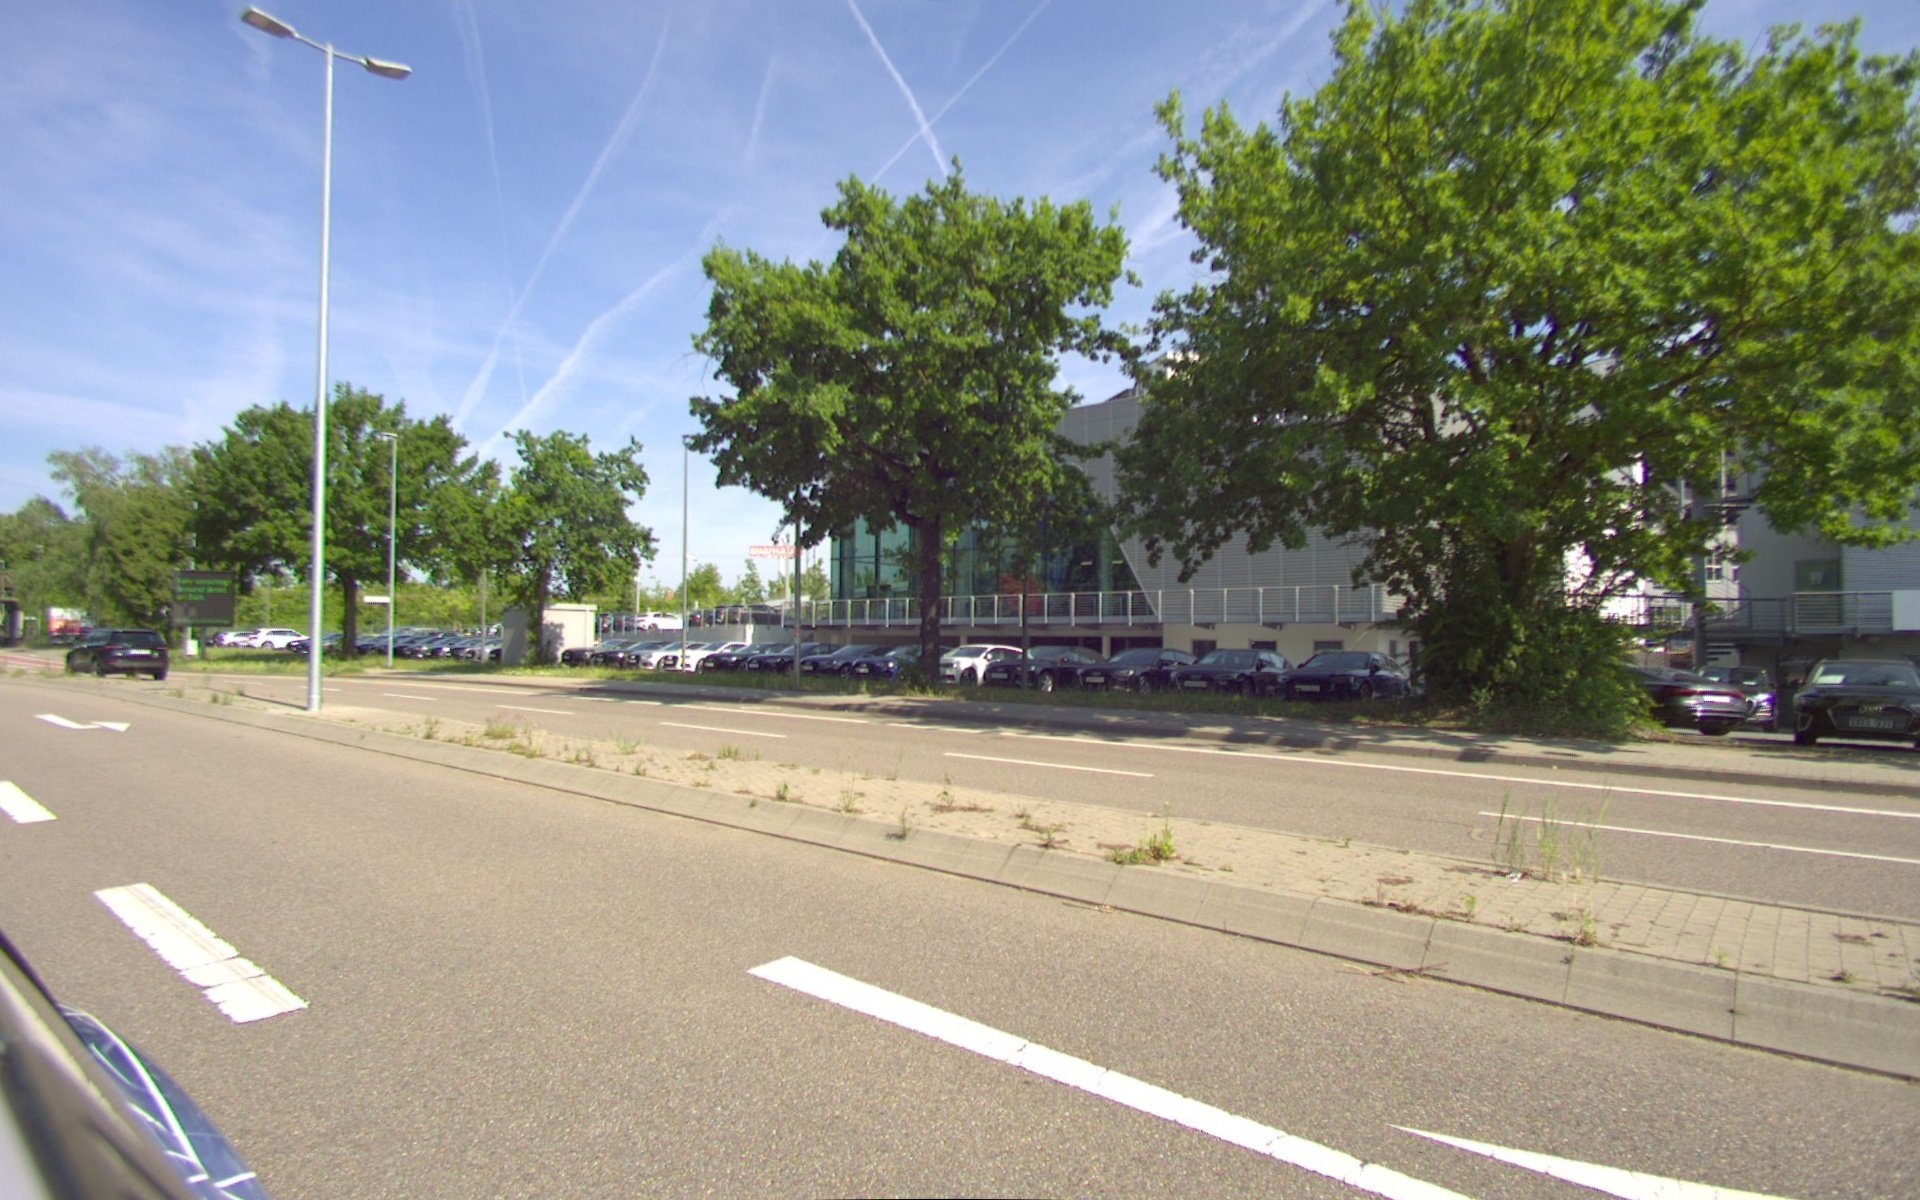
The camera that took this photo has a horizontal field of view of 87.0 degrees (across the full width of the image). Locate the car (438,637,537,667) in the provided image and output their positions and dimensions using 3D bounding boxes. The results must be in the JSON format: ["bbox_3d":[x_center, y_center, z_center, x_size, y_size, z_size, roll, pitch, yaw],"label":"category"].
[{"bbox_3d":[-23.783,2.629,51.054,1.689,1.333,4.141,-2,-6,42],"label":"car"}]

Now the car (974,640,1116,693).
[{"bbox_3d":[2.383,1.840,27.600,1.689,1.256,4.141,-2,-6,42],"label":"car"}]

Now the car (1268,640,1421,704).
[{"bbox_3d":[8.517,1.609,22.222,1.796,1.236,4.141,-2,-6,42],"label":"car"}]

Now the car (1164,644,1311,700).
[{"bbox_3d":[6.640,1.730,23.944,1.695,1.143,4.141,-2,-6,42],"label":"car"}]

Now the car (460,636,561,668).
[{"bbox_3d":[-21.874,2.550,49.374,1.689,1.333,4.141,-2,-6,42],"label":"car"}]

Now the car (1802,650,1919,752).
[{"bbox_3d":[14.434,1.583,15.885,1.808,1.413,3.983,-2,-6,40],"label":"car"}]

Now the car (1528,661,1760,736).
[{"bbox_3d":[13.874,1.952,20.821,1.662,1.343,3.848,1,-3,-11],"label":"car"}]

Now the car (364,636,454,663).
[{"bbox_3d":[-31.424,2.856,57.831,1.689,1.333,4.141,-2,-6,42],"label":"car"}]

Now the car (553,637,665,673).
[{"bbox_3d":[-14.800,2.347,42.826,1.689,1.333,4.141,-2,-6,42],"label":"car"}]

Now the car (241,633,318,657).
[{"bbox_3d":[-48.049,3.191,71.471,1.689,1.511,4.141,-2,-6,42],"label":"car"}]

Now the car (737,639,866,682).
[{"bbox_3d":[-5.301,2.059,34.256,1.689,1.269,4.141,-2,-6,42],"label":"car"}]

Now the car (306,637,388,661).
[{"bbox_3d":[-39.371,3.142,65.117,1.689,1.333,4.141,-2,-6,42],"label":"car"}]

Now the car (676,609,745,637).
[{"bbox_3d":[-16.283,1.528,66.178,1.689,1.511,4.141,-2,-6,42],"label":"car"}]

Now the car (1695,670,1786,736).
[{"bbox_3d":[19.734,2.540,25.581,1.688,1.448,3.780,-2,-3,38],"label":"car"}]

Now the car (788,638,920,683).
[{"bbox_3d":[-3.324,1.970,32.423,1.689,1.264,4.141,-2,-6,42],"label":"car"}]

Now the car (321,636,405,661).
[{"bbox_3d":[-37.405,3.054,63.504,1.689,1.333,4.141,-2,-6,42],"label":"car"}]

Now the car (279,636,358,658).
[{"bbox_3d":[-43.393,3.198,68.552,1.689,1.333,4.141,-2,-6,42],"label":"car"}]

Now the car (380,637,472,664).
[{"bbox_3d":[-29.572,2.813,56.104,1.689,1.333,4.141,-2,-6,42],"label":"car"}]

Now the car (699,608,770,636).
[{"bbox_3d":[-14.288,1.428,64.311,1.689,1.511,4.141,-2,-6,42],"label":"car"}]

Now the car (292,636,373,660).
[{"bbox_3d":[-41.310,3.171,66.696,1.689,1.333,4.141,-2,-6,42],"label":"car"}]

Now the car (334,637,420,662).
[{"bbox_3d":[-35.477,3.008,61.628,1.689,1.333,4.141,-2,-6,42],"label":"car"}]

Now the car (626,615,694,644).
[{"bbox_3d":[-20.494,2.054,69.207,1.689,1.745,4.141,-2,-6,42],"label":"car"}]

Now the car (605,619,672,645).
[{"bbox_3d":[-22.495,2.266,70.946,1.689,1.511,4.141,-2,-6,42],"label":"car"}]

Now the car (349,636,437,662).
[{"bbox_3d":[-33.558,2.927,59.973,1.689,1.333,4.141,-2,-6,42],"label":"car"}]

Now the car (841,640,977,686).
[{"bbox_3d":[-1.485,1.933,30.691,1.689,1.215,4.141,-2,-6,42],"label":"car"}]

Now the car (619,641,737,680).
[{"bbox_3d":[-10.957,2.377,39.520,1.689,1.335,4.141,-2,-6,42],"label":"car"}]

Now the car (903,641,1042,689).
[{"bbox_3d":[0.438,1.885,29.165,1.689,1.204,4.141,-2,-6,42],"label":"car"}]

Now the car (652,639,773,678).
[{"bbox_3d":[-9.195,2.222,37.888,1.689,1.265,4.141,-2,-6,42],"label":"car"}]

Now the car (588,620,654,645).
[{"bbox_3d":[-24.260,2.337,72.470,1.689,1.511,4.141,-2,-6,42],"label":"car"}]

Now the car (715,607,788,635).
[{"bbox_3d":[-12.735,1.330,62.088,1.689,1.416,4.141,-2,-6,42],"label":"car"}]

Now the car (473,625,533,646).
[{"bbox_3d":[-38.054,3.006,84.377,1.689,1.511,4.141,-2,-6,42],"label":"car"}]

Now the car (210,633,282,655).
[{"bbox_3d":[-53.956,3.349,76.533,1.689,1.389,4.141,-2,-6,42],"label":"car"}]

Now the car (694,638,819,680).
[{"bbox_3d":[-7.204,2.113,36.085,1.689,1.309,4.141,-2,-6,42],"label":"car"}]

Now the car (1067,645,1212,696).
[{"bbox_3d":[4.655,1.832,25.860,1.719,1.131,4.141,-2,-6,42],"label":"car"}]

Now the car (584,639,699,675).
[{"bbox_3d":[-12.908,2.330,41.241,1.689,1.256,4.141,-2,-6,42],"label":"car"}]

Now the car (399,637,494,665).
[{"bbox_3d":[-27.587,2.768,54.461,1.689,1.333,4.141,-2,-6,42],"label":"car"}]

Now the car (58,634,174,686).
[{"bbox_3d":[-26.464,1.851,31.696,3.992,1.523,1.845,-2,-4,36],"label":"car"}]

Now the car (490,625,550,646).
[{"bbox_3d":[-35.983,2.945,82.891,1.689,1.511,4.141,-2,-6,42],"label":"car"}]

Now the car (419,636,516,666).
[{"bbox_3d":[-25.493,2.674,52.460,1.689,1.333,4.141,-2,-6,42],"label":"car"}]
